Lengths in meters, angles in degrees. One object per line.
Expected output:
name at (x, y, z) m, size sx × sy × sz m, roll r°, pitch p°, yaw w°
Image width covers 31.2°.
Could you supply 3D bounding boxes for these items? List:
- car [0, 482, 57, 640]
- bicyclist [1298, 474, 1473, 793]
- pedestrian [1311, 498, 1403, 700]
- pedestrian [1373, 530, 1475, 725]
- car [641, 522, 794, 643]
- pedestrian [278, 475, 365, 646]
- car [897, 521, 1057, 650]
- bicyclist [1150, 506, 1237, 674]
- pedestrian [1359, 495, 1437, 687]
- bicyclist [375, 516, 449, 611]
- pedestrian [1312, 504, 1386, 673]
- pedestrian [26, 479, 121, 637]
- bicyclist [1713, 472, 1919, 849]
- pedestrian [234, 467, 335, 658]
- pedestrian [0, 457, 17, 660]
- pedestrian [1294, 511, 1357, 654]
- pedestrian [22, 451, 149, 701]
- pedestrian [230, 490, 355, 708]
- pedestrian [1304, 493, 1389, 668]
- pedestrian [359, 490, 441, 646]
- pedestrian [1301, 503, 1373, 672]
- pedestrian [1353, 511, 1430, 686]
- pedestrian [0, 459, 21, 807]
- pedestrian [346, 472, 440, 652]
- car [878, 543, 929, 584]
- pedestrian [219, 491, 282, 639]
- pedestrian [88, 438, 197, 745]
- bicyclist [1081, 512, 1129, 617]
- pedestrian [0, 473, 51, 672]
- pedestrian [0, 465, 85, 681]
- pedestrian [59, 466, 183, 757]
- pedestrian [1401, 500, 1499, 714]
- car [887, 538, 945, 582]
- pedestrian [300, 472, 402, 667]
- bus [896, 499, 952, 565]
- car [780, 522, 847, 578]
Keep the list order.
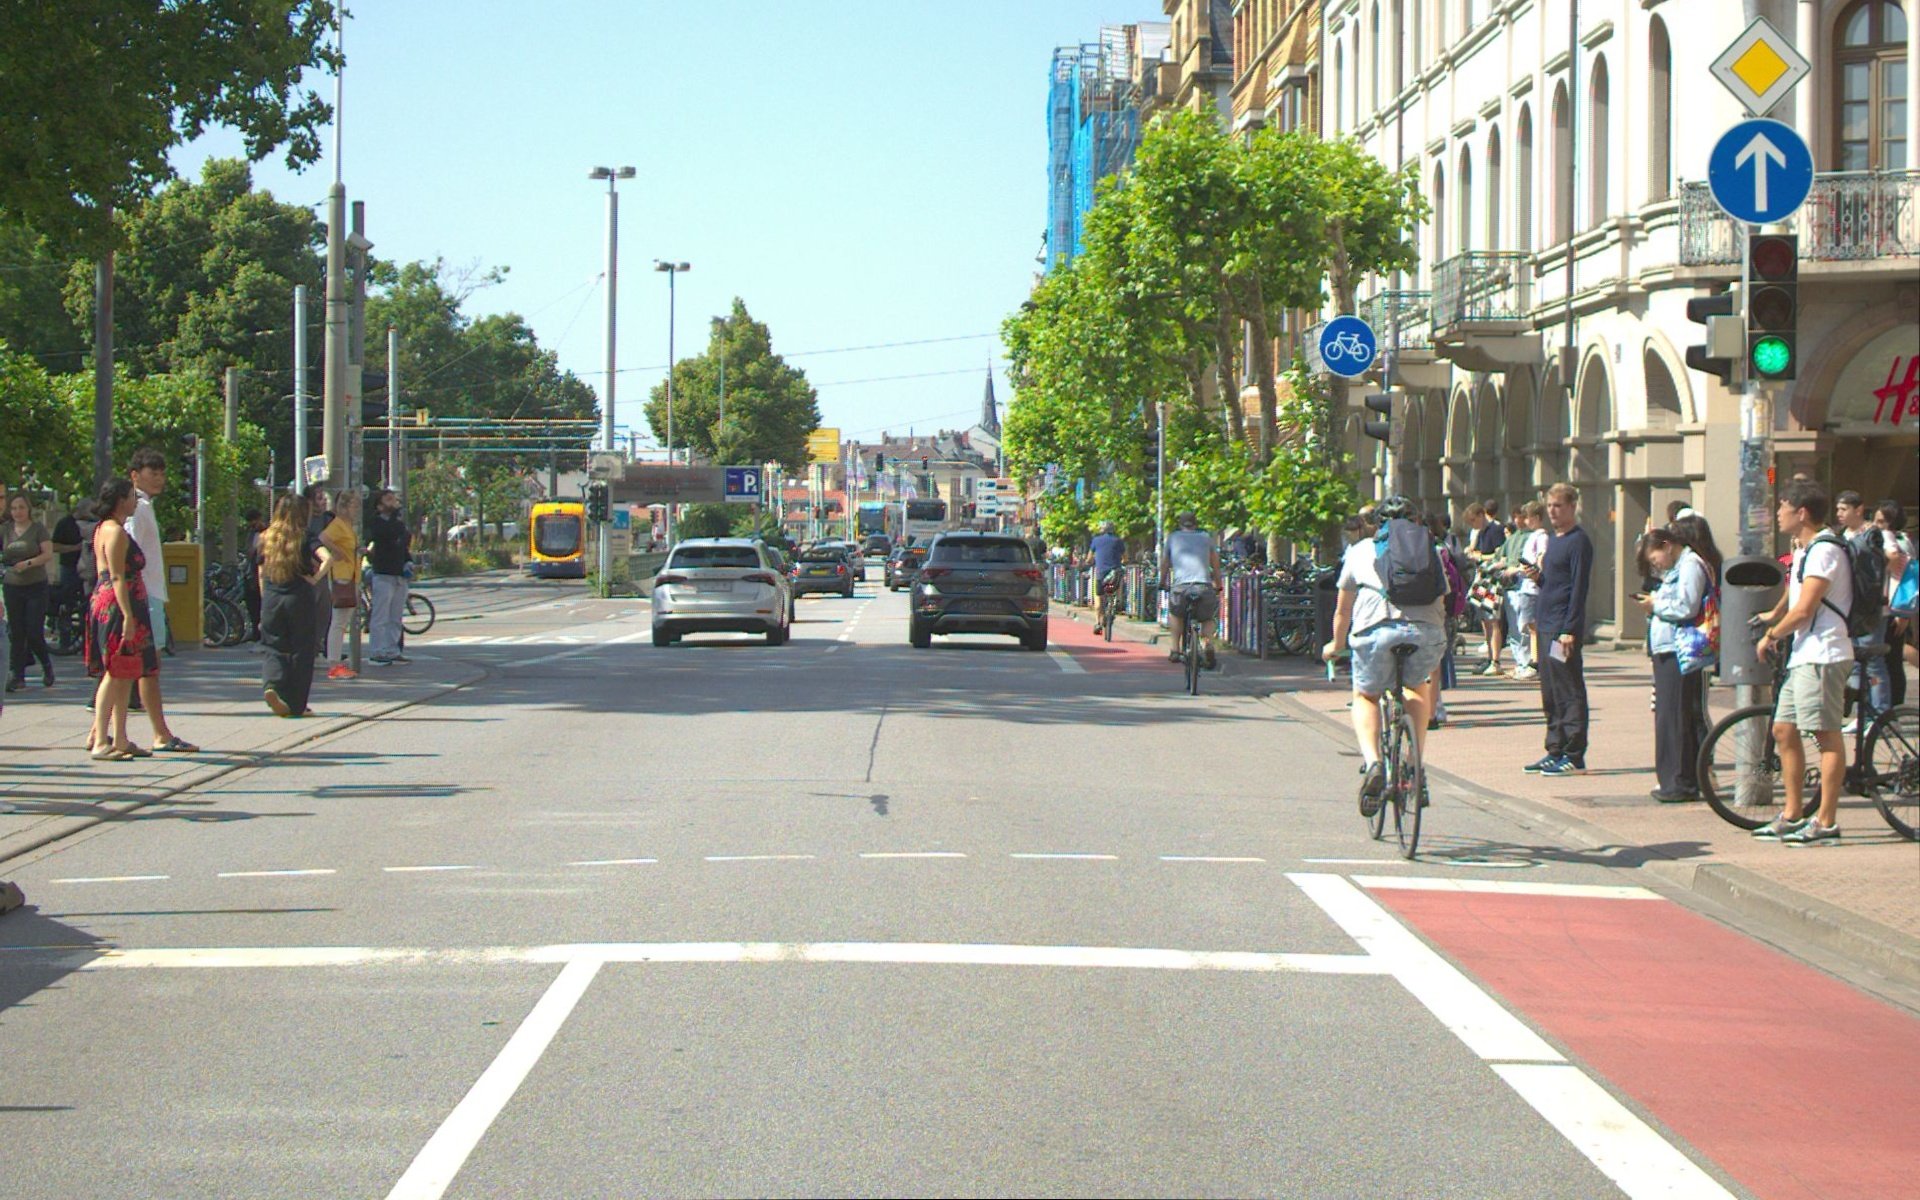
car at (-13.189, -0.489, 41.816) m, size 1.861 × 1.948 × 4.756 m, roll 1°, pitch 1°, yaw 20°
bicyclist at (2.045, 0.149, 16.644) m, size 0.630 × 1.476 × 1.198 m, roll 2°, pitch 1°, yaw -1°
pedestrian at (3.519, -0.013, 30.493) m, size 0.610 × 1.733 × 0.678 m, roll -4°, pitch 1°, yaw -2°
pedestrian at (3.728, 0.212, 27.643) m, size 0.610 × 1.510 × 0.678 m, roll -4°, pitch 1°, yaw -2°
car at (-3.279, -0.276, 47.077) m, size 1.845 × 1.554 × 4.000 m, roll 0°, pitch 2°, yaw 0°
pedestrian at (-6.849, -0.424, 36.896) m, size 0.618 × 1.817 × 0.662 m, roll 1°, pitch 1°, yaw 29°
car at (0.182, -0.231, 46.138) m, size 1.845 × 1.554 × 4.001 m, roll -2°, pitch 2°, yaw -3°
bicyclist at (2.297, -0.108, 33.881) m, size 0.774 × 1.629 × 0.851 m, roll 0°, pitch 1°, yaw 0°
pedestrian at (4.201, -0.090, 33.035) m, size 0.610 × 1.817 × 0.678 m, roll 1°, pitch 1°, yaw -2°
bicyclist at (-8.736, -0.584, 54.802) m, size 1.048 × 1.497 × 0.741 m, roll 0°, pitch 1°, yaw -19°
pedestrian at (3.928, -0.123, 34.735) m, size 0.582 × 1.668 × 0.605 m, roll -3°, pitch 1°, yaw -2°
pedestrian at (-9.998, -0.478, 38.771) m, size 0.679 × 1.758 × 0.765 m, roll 1°, pitch 1°, yaw 29°
bicyclist at (4.253, 0.280, 16.942) m, size 0.573 × 1.791 × 0.857 m, roll -3°, pitch 2°, yaw -35°
pedestrian at (-6.661, -0.372, 33.908) m, size 0.633 × 1.852 × 0.730 m, roll 1°, pitch 1°, yaw 29°
pedestrian at (-8.878, -0.376, 30.558) m, size 0.633 × 1.804 × 0.730 m, roll 1°, pitch 1°, yaw 20°
pedestrian at (4.162, -0.209, 39.142) m, size 0.531 × 1.589 × 0.611 m, roll 1°, pitch 4°, yaw 26°
pedestrian at (-6.582, -0.182, 25.897) m, size 0.633 × 1.852 × 0.686 m, roll 1°, pitch 1°, yaw 20°
pedestrian at (-4.967, -0.011, 25.590) m, size 0.633 × 1.590 × 0.686 m, roll 1°, pitch 1°, yaw 20°
pedestrian at (4.251, -0.216, 37.820) m, size 0.688 × 1.891 × 0.611 m, roll -2°, pitch 1°, yaw 26°
pedestrian at (-6.016, -0.347, 36.920) m, size 0.618 × 1.662 × 0.591 m, roll 1°, pitch 1°, yaw 29°
pedestrian at (3.877, -0.132, 35.376) m, size 0.582 × 1.694 × 0.605 m, roll -3°, pitch 1°, yaw -2°
pedestrian at (4.220, -0.018, 33.658) m, size 0.582 × 1.668 × 0.605 m, roll -3°, pitch 1°, yaw -2°
pedestrian at (-5.059, 0.153, 17.310) m, size 0.429 × 1.734 × 0.606 m, roll 2°, pitch 1°, yaw -32°
pedestrian at (-5.856, -0.396, 35.516) m, size 0.633 × 1.828 × 0.730 m, roll 1°, pitch 1°, yaw 29°
car at (-2.090, -1.352, 126.413) m, size 1.845 × 1.409 × 4.001 m, roll 1°, pitch 1°, yaw -2°
pedestrian at (-8.341, -0.411, 40.424) m, size 0.610 × 1.719 × 0.678 m, roll 1°, pitch 1°, yaw -2°
pedestrian at (-5.169, -0.058, 21.754) m, size 0.532 × 1.912 × 0.560 m, roll 1°, pitch 1°, yaw 1°
bicyclist at (2.162, -0.528, 51.333) m, size 0.647 × 1.545 × 0.817 m, roll 1°, pitch 1°, yaw -1°
pedestrian at (-8.325, -0.245, 29.854) m, size 0.576 × 1.705 × 0.606 m, roll 2°, pitch 1°, yaw 13°
pedestrian at (-7.772, -0.230, 28.907) m, size 0.576 × 1.773 × 0.606 m, roll 2°, pitch 1°, yaw 5°
pedestrian at (-5.150, 0.065, 21.118) m, size 0.576 × 1.752 × 0.638 m, roll 1°, pitch 1°, yaw 1°
pedestrian at (4.156, 0.054, 29.187) m, size 0.610 × 1.753 × 0.678 m, roll -4°, pitch 1°, yaw -2°
car at (-1.480, -1.348, 114.611) m, size 1.845 × 1.409 × 4.001 m, roll 1°, pitch 1°, yaw -2°
pedestrian at (-5.671, -0.285, 32.007) m, size 0.633 × 1.788 × 0.730 m, roll 1°, pitch 1°, yaw 20°
bus at (-2.086, -3.837, 194.732) m, size 2.994 × 3.581 × 11.746 m, roll 1°, pitch 1°, yaw -1°
car at (-4.167, -1.444, 98.271) m, size 1.845 × 1.554 × 4.001 m, roll 1°, pitch 1°, yaw -2°
